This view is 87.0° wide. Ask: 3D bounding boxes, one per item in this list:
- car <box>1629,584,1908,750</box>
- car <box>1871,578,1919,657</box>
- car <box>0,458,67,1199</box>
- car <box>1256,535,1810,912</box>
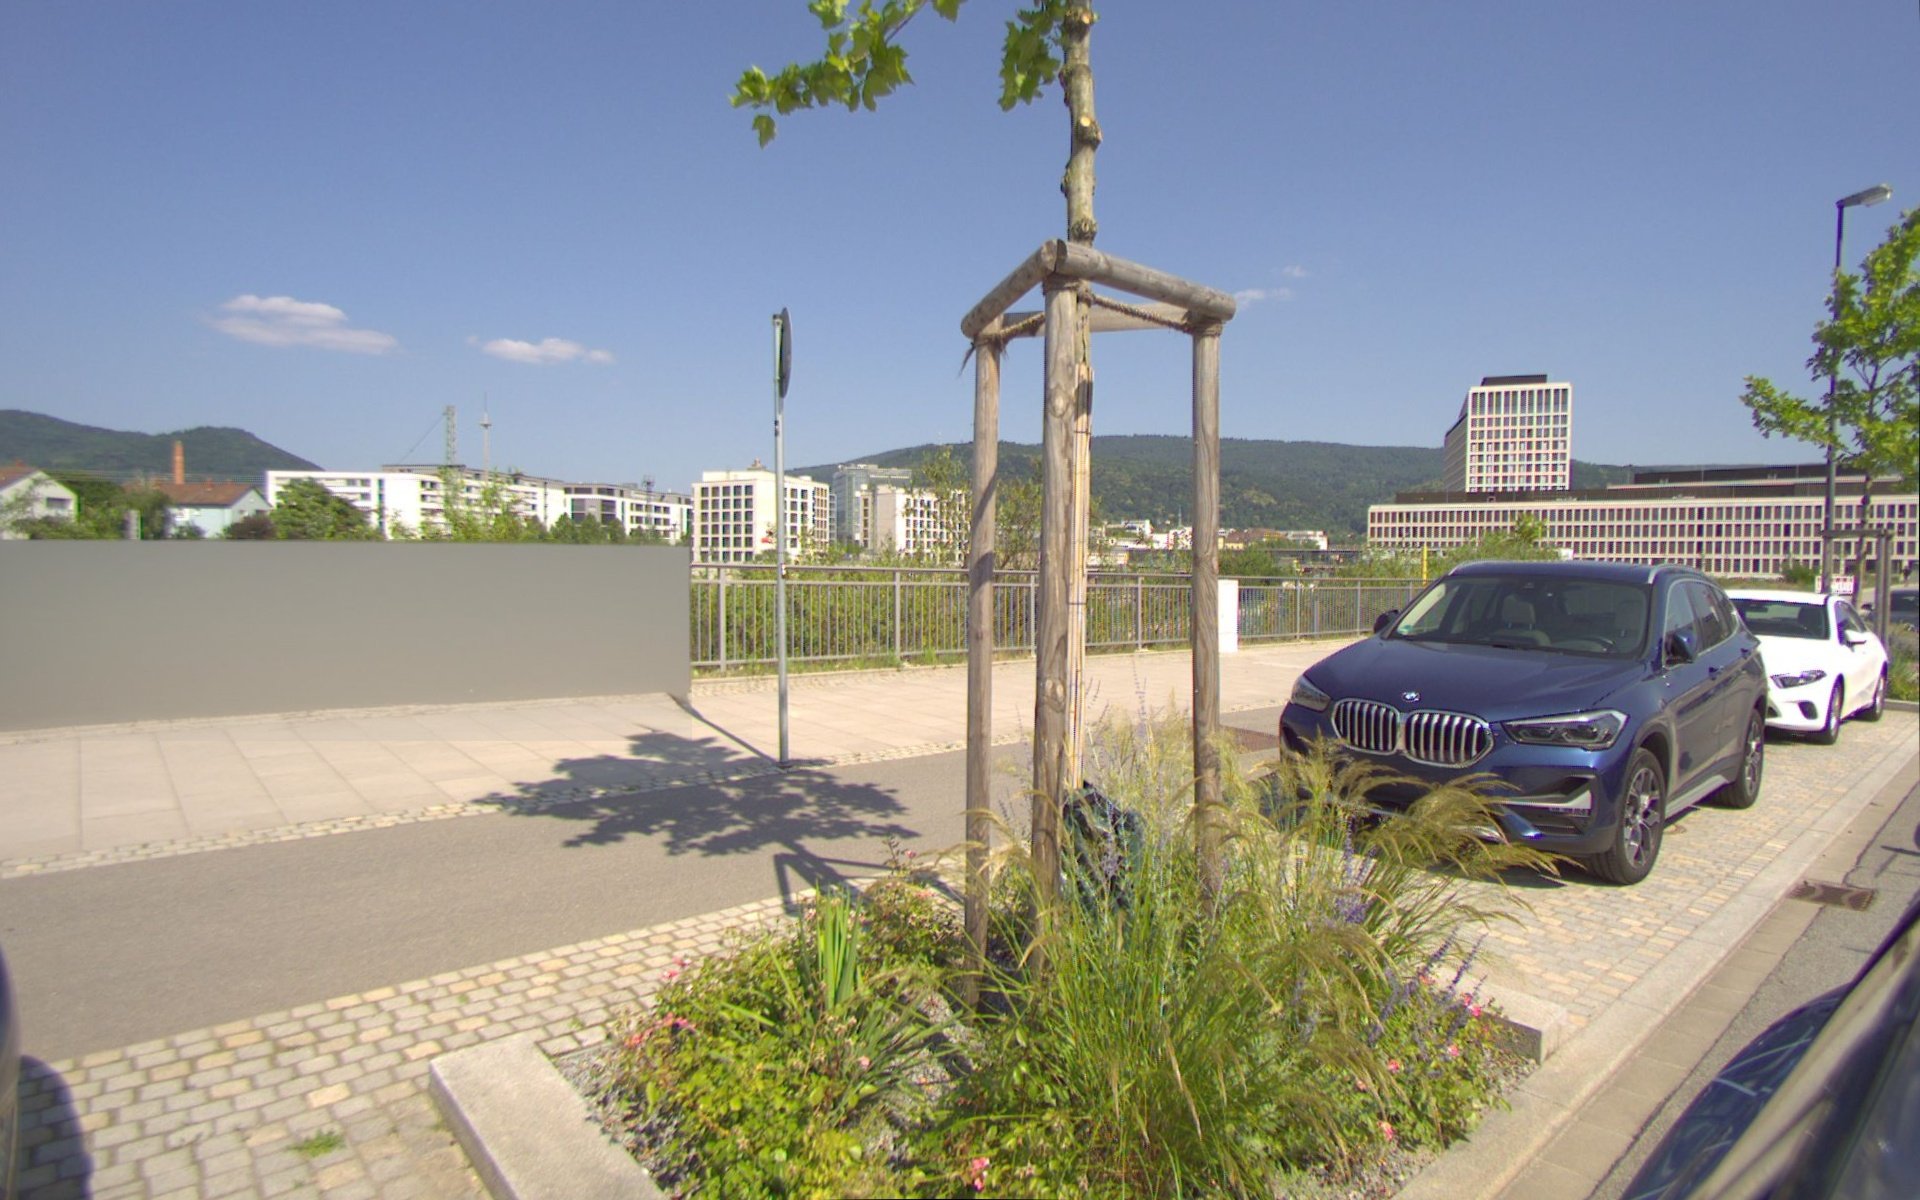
[{"bbox_3d":[8.782,0.569,10.887,3.930,1.473,1.663,-1,0,-41],"label":"car"},{"bbox_3d":[20.388,0.323,21.062,3.930,1.558,1.663,-1,0,-41],"label":"car"},{"bbox_3d":[-2.977,0.551,0.380,3.931,1.444,1.664,-1,4,-41],"label":"car"},{"bbox_3d":[3.820,0.509,6.413,4.164,1.627,1.768,-1,0,-41],"label":"car"}]
